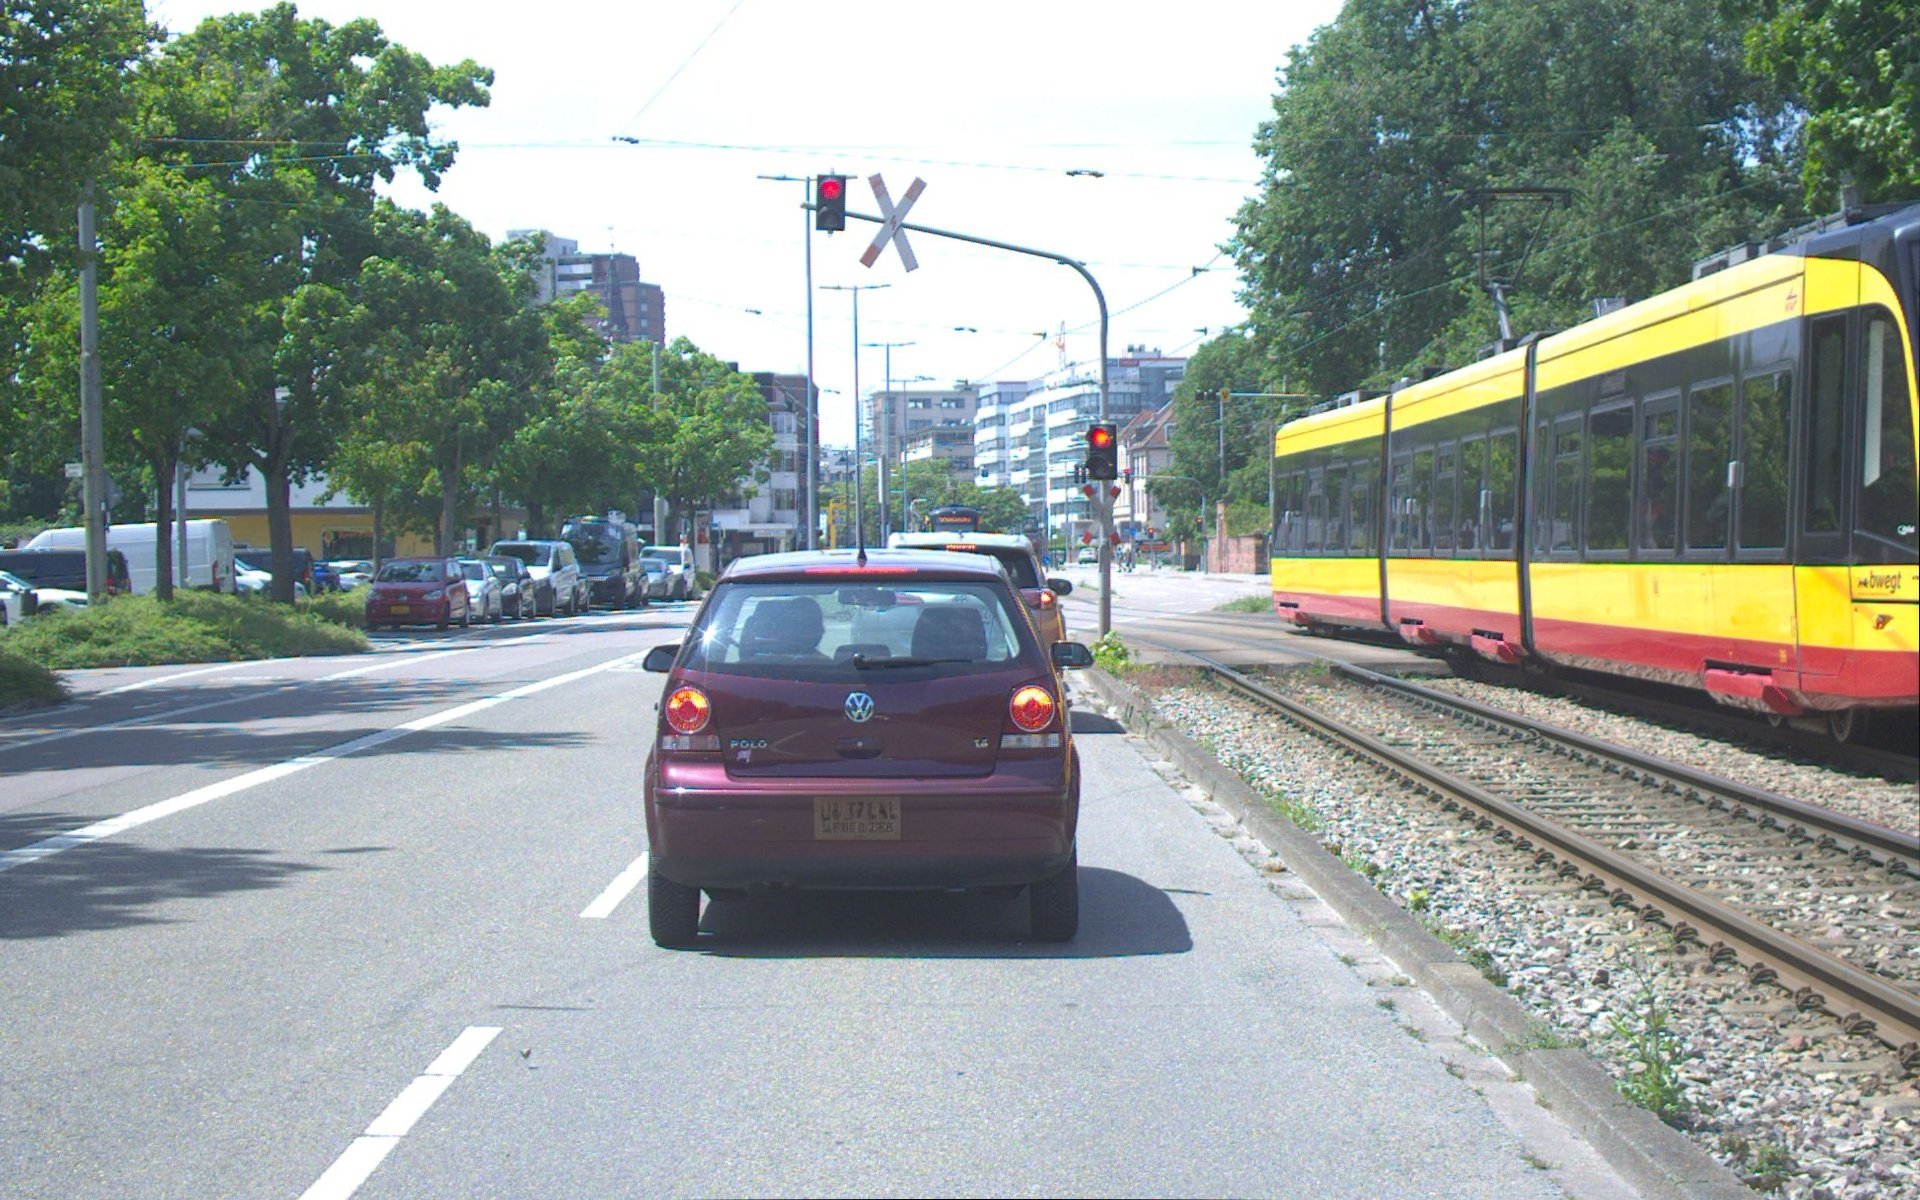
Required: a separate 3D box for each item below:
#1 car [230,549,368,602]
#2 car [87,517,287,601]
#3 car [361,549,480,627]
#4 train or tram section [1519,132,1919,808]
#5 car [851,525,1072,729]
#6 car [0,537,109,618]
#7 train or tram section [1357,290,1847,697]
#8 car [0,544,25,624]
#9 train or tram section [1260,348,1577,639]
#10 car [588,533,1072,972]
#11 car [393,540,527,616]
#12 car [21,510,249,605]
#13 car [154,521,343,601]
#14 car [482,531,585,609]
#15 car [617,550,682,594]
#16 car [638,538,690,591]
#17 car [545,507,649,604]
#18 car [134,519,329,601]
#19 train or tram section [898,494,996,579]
[{"bbox_3d":[-21.203,-0.789,110.310,4.020,1.611,1.816,1,0,1],"label":"car"},{"bbox_3d":[-21.940,-1.158,97.705,5.097,2.237,2.378,1,0,1],"label":"car"},{"bbox_3d":[-10.919,-0.238,69.860,1.663,1.491,4.000,1,0,1],"label":"car"},{"bbox_3d":[6.802,-0.868,25.798,3.028,3.785,13.090,-1,1,0],"label":"train or tram section"},{"bbox_3d":[-0.027,0.183,30.062,1.777,1.641,4.000,1,1,-1],"label":"car"},{"bbox_3d":[-21.056,-0.488,75.994,3.987,1.740,1.998,-1,1,-1],"label":"car"},{"bbox_3d":[6.773,-1.119,38.761,3.028,3.785,13.090,-1,1,0],"label":"train or tram section"},{"bbox_3d":[-20.965,-0.284,67.962,4.344,1.579,1.912,-1,1,6],"label":"car"},{"bbox_3d":[6.589,-1.523,51.576,3.028,3.785,12.761,-1,1,0],"label":"train or tram section"},{"bbox_3d":[-0.495,0.499,14.062,1.672,1.516,4.000,1,1,-1],"label":"car"},{"bbox_3d":[-11.075,-0.470,76.408,1.976,1.595,4.557,1,0,4],"label":"car"},{"bbox_3d":[-20.763,-1.064,86.651,5.097,2.237,2.378,1,0,1],"label":"car"},{"bbox_3d":[-21.265,-1.160,102.908,5.097,2.237,2.378,1,0,1],"label":"car"},{"bbox_3d":[-10.713,-0.734,86.644,1.783,1.875,4.785,1,0,2],"label":"car"},{"bbox_3d":[-10.572,-0.935,117.232,1.614,1.436,3.999,1,0,3],"label":"car"},{"bbox_3d":[-10.613,-1.268,122.968,1.774,1.822,4.001,1,0,-5],"label":"car"},{"bbox_3d":[-10.482,-1.259,99.683,2.361,2.683,5.307,1,0,1],"label":"car"},{"bbox_3d":[-21.210,-1.150,100.229,5.097,2.237,2.378,1,0,1],"label":"car"},{"bbox_3d":[-0.670,-2.851,153.164,2.740,3.597,12.873,1,1,-7],"label":"train or tram section"}]
